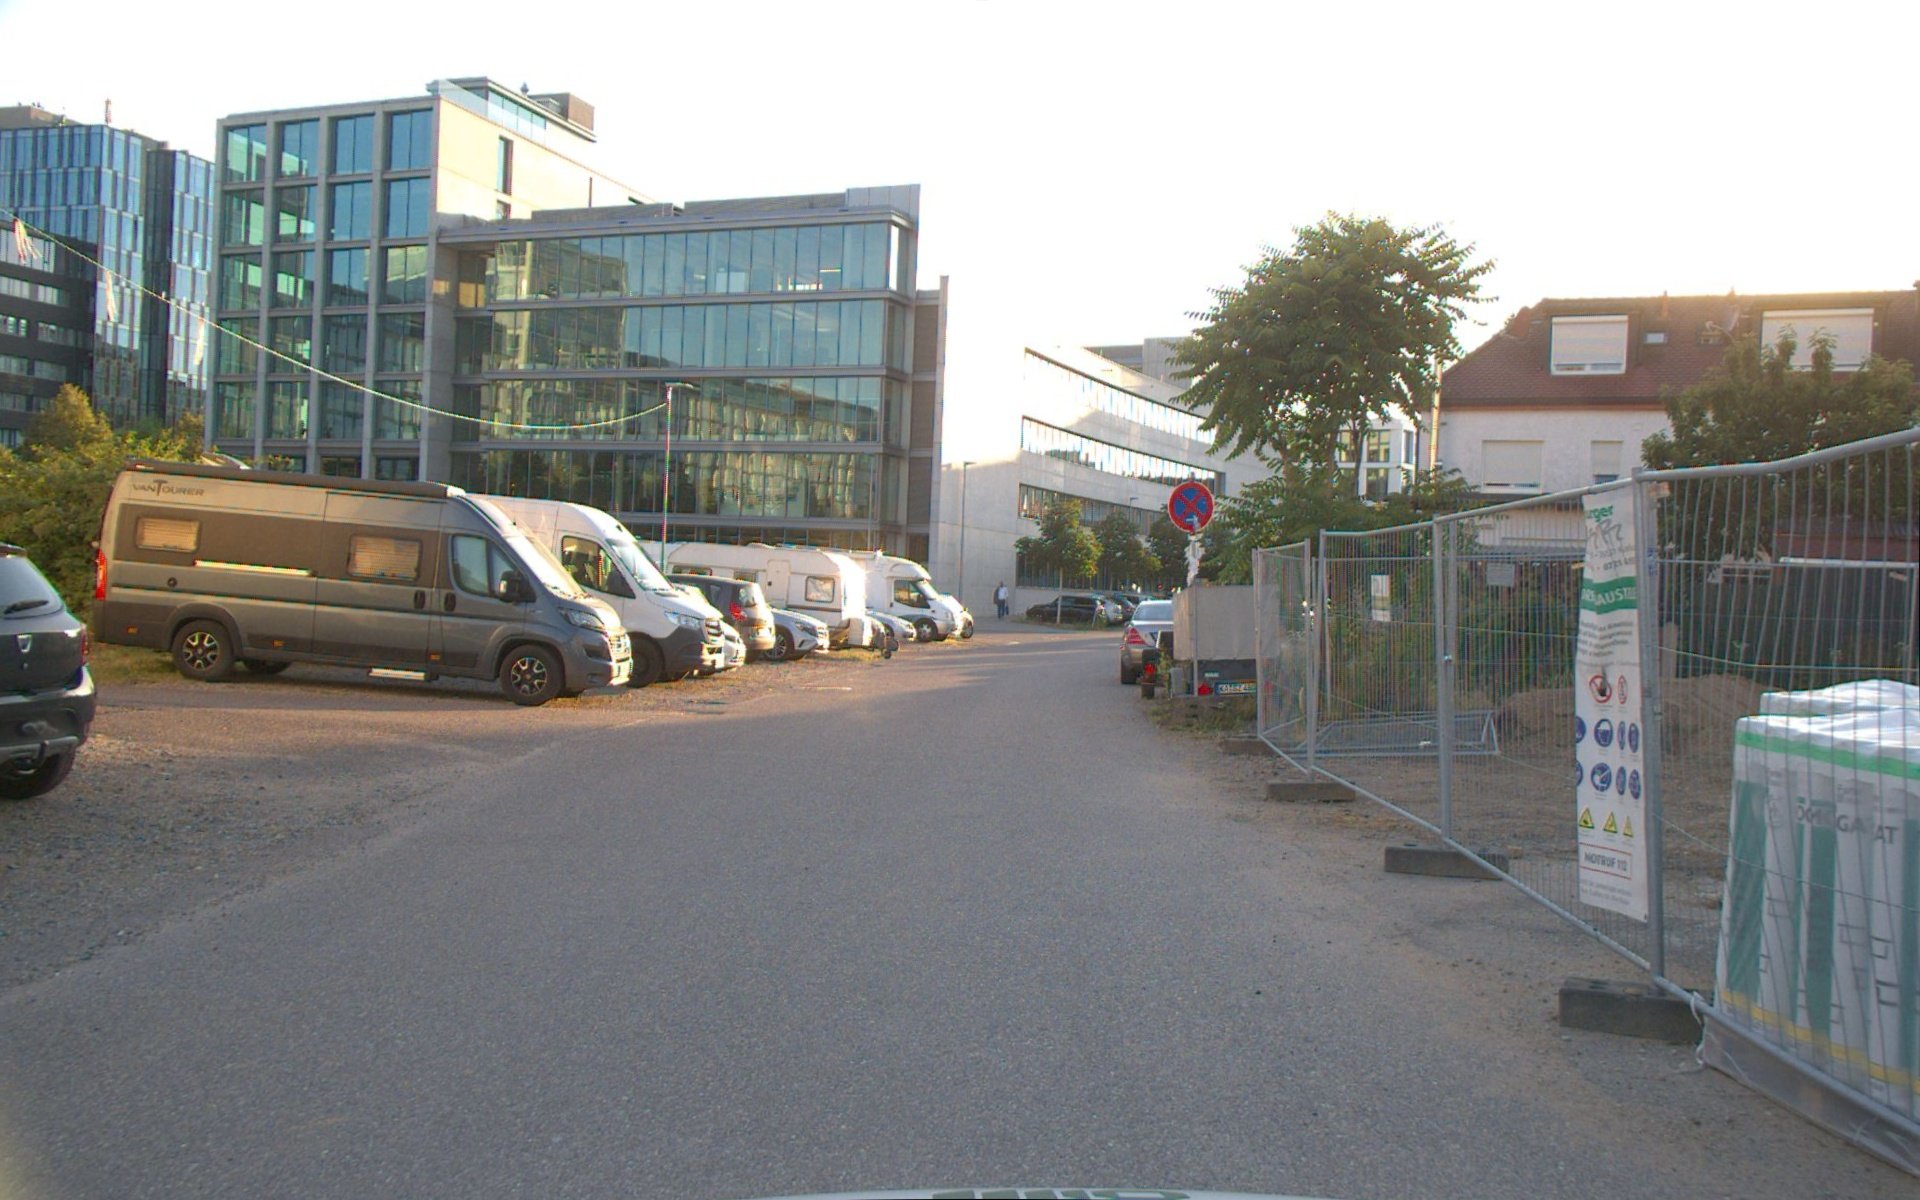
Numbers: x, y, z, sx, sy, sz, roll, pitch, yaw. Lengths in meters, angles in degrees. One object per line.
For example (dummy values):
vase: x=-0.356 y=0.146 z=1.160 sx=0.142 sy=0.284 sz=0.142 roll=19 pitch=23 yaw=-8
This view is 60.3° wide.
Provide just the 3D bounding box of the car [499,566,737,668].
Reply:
car: x=-6.207 y=0.317 z=30.243 sx=3.842 sy=1.618 sz=1.749 roll=3 pitch=-1 yaw=6

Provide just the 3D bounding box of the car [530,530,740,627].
car: x=-10.367 y=-0.684 z=52.772 sx=6.111 sy=2.719 sz=2.224 roll=3 pitch=0 yaw=16

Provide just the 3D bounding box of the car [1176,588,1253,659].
car: x=7.151 y=0.605 z=46.185 sx=1.733 sy=1.863 sz=4.412 roll=1 pitch=1 yaw=13

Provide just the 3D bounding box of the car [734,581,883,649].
car: x=-3.969 y=0.384 z=43.581 sx=3.551 sy=1.545 sz=1.707 roll=3 pitch=0 yaw=7

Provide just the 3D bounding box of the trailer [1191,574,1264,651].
trailer: x=8.475 y=0.364 z=52.143 sx=2.020 sy=2.250 sz=5.227 roll=1 pitch=0 yaw=11

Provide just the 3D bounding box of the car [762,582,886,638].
car: x=-4.208 y=0.294 z=51.620 sx=3.528 sy=1.502 sz=1.694 roll=3 pitch=0 yaw=6

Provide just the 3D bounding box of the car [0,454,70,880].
car: x=-6.204 y=0.194 z=6.946 sx=3.851 sy=1.944 sz=1.746 roll=4 pitch=1 yaw=-7

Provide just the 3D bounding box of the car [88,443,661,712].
car: x=-7.165 y=-0.253 z=20.810 sx=6.259 sy=2.760 sz=2.112 roll=4 pitch=-1 yaw=-1

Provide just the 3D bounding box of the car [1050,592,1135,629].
car: x=6.548 y=0.514 z=81.737 sx=3.914 sy=1.538 sz=1.586 roll=3 pitch=2 yaw=16

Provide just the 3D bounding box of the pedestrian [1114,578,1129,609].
pedestrian: x=9.761 y=-0.399 z=99.923 sx=0.633 sy=1.815 sz=0.725 roll=3 pitch=0 yaw=22

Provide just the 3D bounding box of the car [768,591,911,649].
car: x=-3.359 y=0.537 z=46.462 sx=3.647 sy=1.391 sz=1.707 roll=3 pitch=0 yaw=7

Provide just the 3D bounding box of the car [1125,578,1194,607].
car: x=11.620 y=-0.443 z=96.197 sx=3.628 sy=1.483 sz=1.711 roll=3 pitch=0 yaw=24

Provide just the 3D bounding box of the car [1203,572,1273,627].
car: x=11.480 y=-0.036 z=68.048 sx=2.022 sy=2.131 sz=4.874 roll=1 pitch=0 yaw=19

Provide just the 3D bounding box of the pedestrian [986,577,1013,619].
pedestrian: x=1.825 y=-0.092 z=76.425 sx=0.892 sy=1.882 sz=0.845 roll=1 pitch=1 yaw=-36

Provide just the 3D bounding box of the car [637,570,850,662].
car: x=-4.567 y=0.322 z=35.040 sx=4.039 sy=1.618 sz=1.749 roll=4 pitch=1 yaw=14

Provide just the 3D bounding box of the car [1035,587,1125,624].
car: x=5.801 y=0.258 z=79.753 sx=4.000 sy=1.555 sz=1.847 roll=3 pitch=1 yaw=16

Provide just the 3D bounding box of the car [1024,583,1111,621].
car: x=5.023 y=0.079 z=77.049 sx=3.656 sy=1.507 sz=1.771 roll=3 pitch=1 yaw=17

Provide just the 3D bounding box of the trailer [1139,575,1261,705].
trailer: x=3.673 y=0.557 z=25.627 sx=1.694 sy=1.808 sz=4.941 roll=0 pitch=0 yaw=7

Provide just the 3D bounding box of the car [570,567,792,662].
car: x=-5.416 y=0.272 z=32.283 sx=3.842 sy=1.618 sz=1.749 roll=3 pitch=0 yaw=14

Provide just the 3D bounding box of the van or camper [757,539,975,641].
van or camper: x=-3.034 y=-0.327 z=53.937 sx=6.597 sy=2.948 sz=2.411 roll=3 pitch=0 yaw=12

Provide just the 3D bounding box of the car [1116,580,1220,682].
car: x=3.908 y=0.526 z=30.954 sx=1.767 sy=1.755 sz=4.932 roll=0 pitch=0 yaw=8

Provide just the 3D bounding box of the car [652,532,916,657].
car: x=-4.225 y=-0.119 z=40.123 sx=5.764 sy=2.578 sz=2.413 roll=4 pitch=-1 yaw=12

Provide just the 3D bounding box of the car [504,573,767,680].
car: x=-5.323 y=0.424 z=27.373 sx=3.842 sy=1.533 sz=1.791 roll=3 pitch=0 yaw=6

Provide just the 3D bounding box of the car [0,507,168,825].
car: x=-6.867 y=0.213 z=9.420 sx=3.843 sy=1.680 sz=1.749 roll=4 pitch=1 yaw=9

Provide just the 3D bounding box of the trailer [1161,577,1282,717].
trailer: x=3.349 y=0.566 z=21.508 sx=1.224 sy=1.694 sz=2.804 roll=0 pitch=0 yaw=2

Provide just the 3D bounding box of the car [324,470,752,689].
car: x=-6.238 y=-0.318 z=24.855 sx=5.704 sy=2.759 sz=2.052 roll=4 pitch=1 yaw=4

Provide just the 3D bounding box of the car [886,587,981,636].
car: x=-0.857 y=0.428 z=57.116 sx=1.652 sy=1.545 sz=4.360 roll=3 pitch=0 yaw=22

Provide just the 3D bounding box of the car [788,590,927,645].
car: x=-2.990 y=0.505 z=48.555 sx=3.727 sy=1.351 sz=1.694 roll=3 pitch=0 yaw=9

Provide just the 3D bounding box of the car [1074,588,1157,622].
car: x=8.144 y=0.255 z=86.636 sx=3.907 sy=1.537 sz=1.759 roll=3 pitch=1 yaw=23
